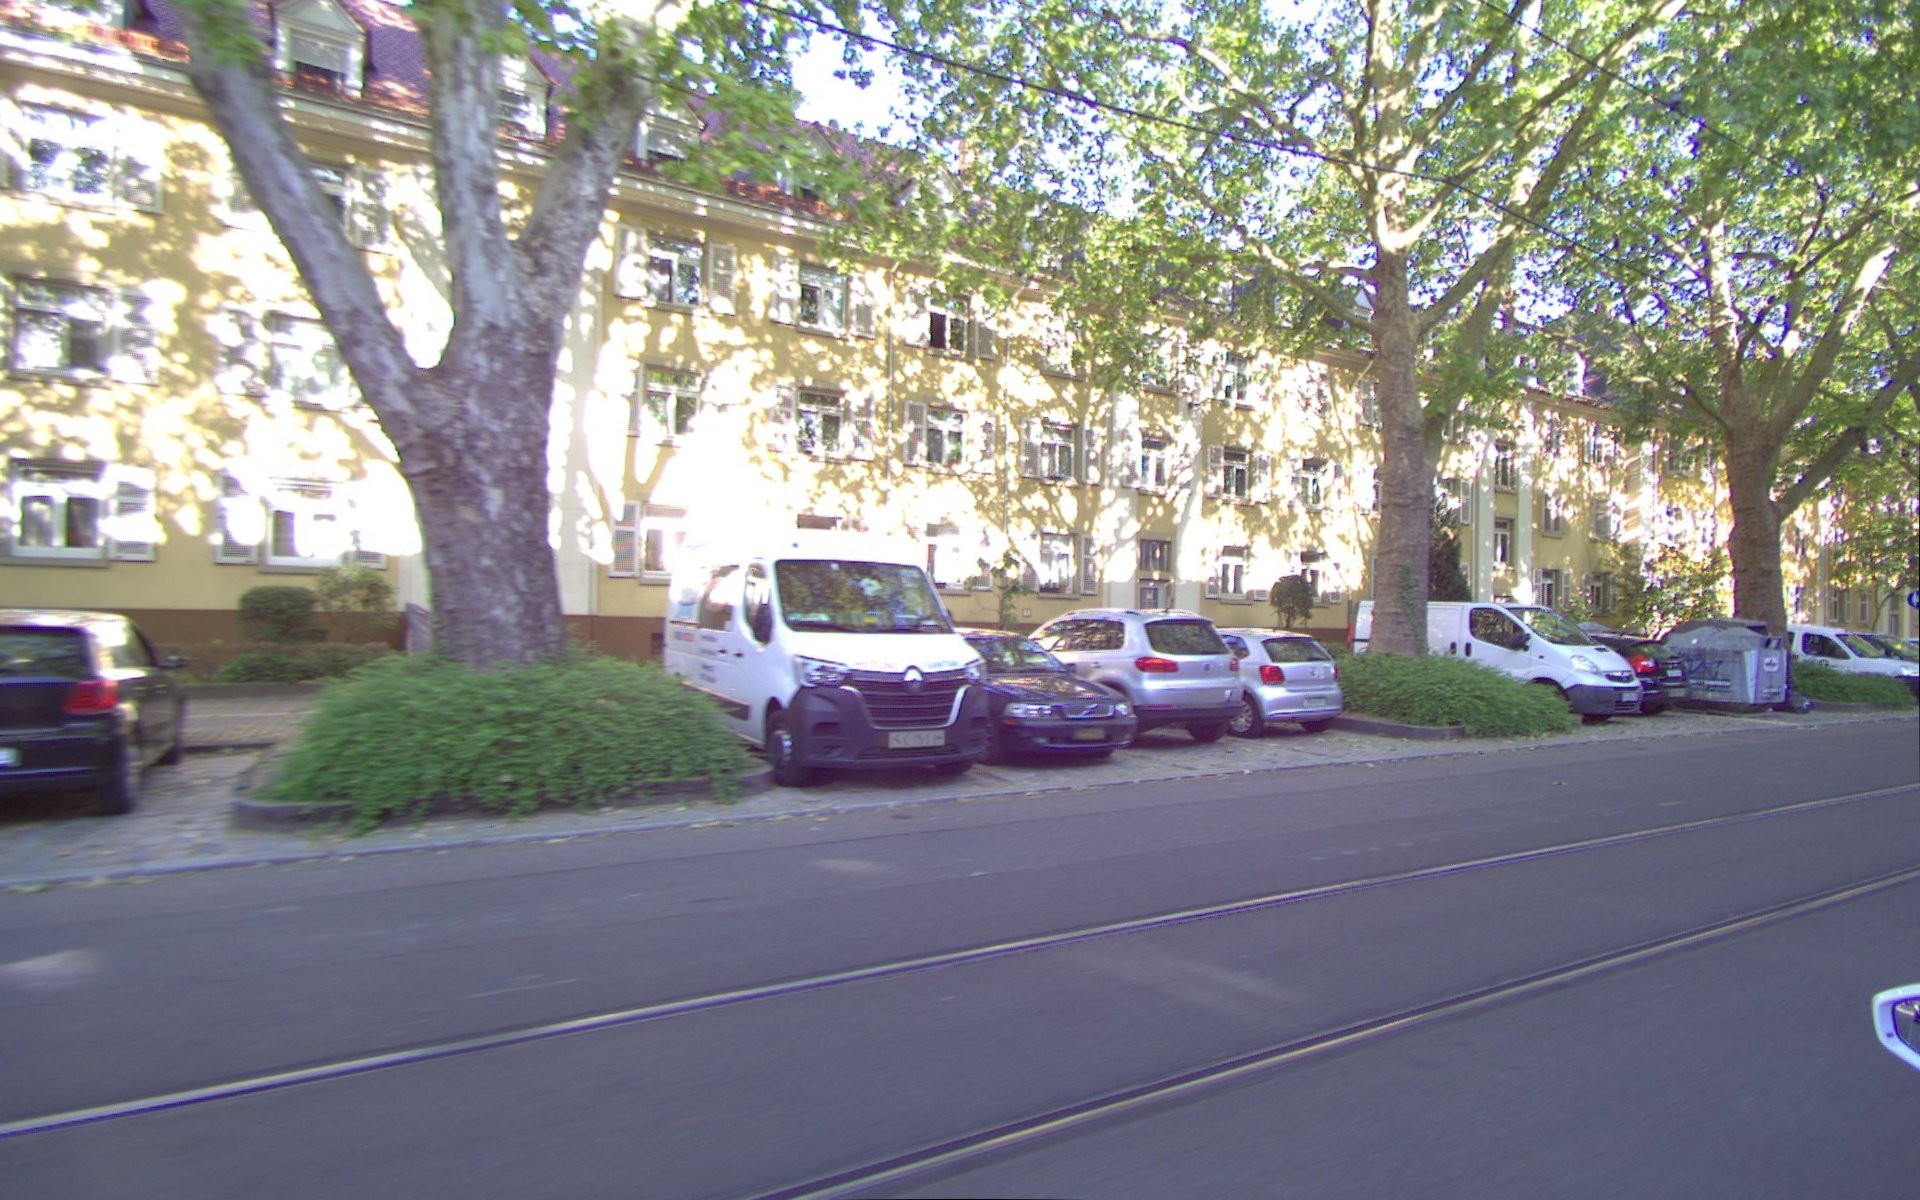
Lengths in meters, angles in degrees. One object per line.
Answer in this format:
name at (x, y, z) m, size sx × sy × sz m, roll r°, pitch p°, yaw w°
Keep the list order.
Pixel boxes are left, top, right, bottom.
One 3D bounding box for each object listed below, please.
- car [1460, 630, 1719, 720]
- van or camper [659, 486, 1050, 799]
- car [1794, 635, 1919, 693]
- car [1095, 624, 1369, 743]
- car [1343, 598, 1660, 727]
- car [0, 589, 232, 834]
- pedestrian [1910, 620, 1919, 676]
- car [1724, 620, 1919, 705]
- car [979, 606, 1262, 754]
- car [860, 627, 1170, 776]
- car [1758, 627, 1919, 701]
car at (11.918, 1.345, 19.267) m, size 1.840 × 1.517 × 3.831 m, roll 1°, pitch -2°, yaw -29°
van or camper at (-1.513, 0.380, 11.141) m, size 2.415 × 2.549 × 5.366 m, roll 1°, pitch -1°, yaw -29°
car at (26.014, 1.766, 28.029) m, size 1.840 × 1.517 × 3.831 m, roll 1°, pitch -2°, yaw -29°
car at (3.898, 1.132, 15.026) m, size 1.840 × 1.517 × 3.831 m, roll 1°, pitch -2°, yaw -29°
car at (9.441, 0.982, 17.927) m, size 1.940 × 1.971 × 4.631 m, roll 1°, pitch -1°, yaw -32°
car at (-7.163, 0.722, 8.060) m, size 1.593 × 1.586 × 3.667 m, roll 1°, pitch -1°, yaw -28°
pedestrian at (30.623, 1.529, 31.616) m, size 0.787 × 1.768 × 0.818 m, roll 2°, pitch 0°, yaw -30°
car at (20.927, 1.414, 23.790) m, size 1.718 × 1.781 × 4.182 m, roll 1°, pitch -1°, yaw -28°
car at (1.997, 0.970, 13.580) m, size 1.840 × 1.685 × 3.831 m, roll 1°, pitch -2°, yaw -29°
car at (0.439, 1.050, 11.988) m, size 1.732 × 1.417 × 4.246 m, roll 1°, pitch -2°, yaw -29°
car at (22.897, 1.557, 25.132) m, size 1.905 × 1.710 × 4.226 m, roll 1°, pitch -2°, yaw -22°
